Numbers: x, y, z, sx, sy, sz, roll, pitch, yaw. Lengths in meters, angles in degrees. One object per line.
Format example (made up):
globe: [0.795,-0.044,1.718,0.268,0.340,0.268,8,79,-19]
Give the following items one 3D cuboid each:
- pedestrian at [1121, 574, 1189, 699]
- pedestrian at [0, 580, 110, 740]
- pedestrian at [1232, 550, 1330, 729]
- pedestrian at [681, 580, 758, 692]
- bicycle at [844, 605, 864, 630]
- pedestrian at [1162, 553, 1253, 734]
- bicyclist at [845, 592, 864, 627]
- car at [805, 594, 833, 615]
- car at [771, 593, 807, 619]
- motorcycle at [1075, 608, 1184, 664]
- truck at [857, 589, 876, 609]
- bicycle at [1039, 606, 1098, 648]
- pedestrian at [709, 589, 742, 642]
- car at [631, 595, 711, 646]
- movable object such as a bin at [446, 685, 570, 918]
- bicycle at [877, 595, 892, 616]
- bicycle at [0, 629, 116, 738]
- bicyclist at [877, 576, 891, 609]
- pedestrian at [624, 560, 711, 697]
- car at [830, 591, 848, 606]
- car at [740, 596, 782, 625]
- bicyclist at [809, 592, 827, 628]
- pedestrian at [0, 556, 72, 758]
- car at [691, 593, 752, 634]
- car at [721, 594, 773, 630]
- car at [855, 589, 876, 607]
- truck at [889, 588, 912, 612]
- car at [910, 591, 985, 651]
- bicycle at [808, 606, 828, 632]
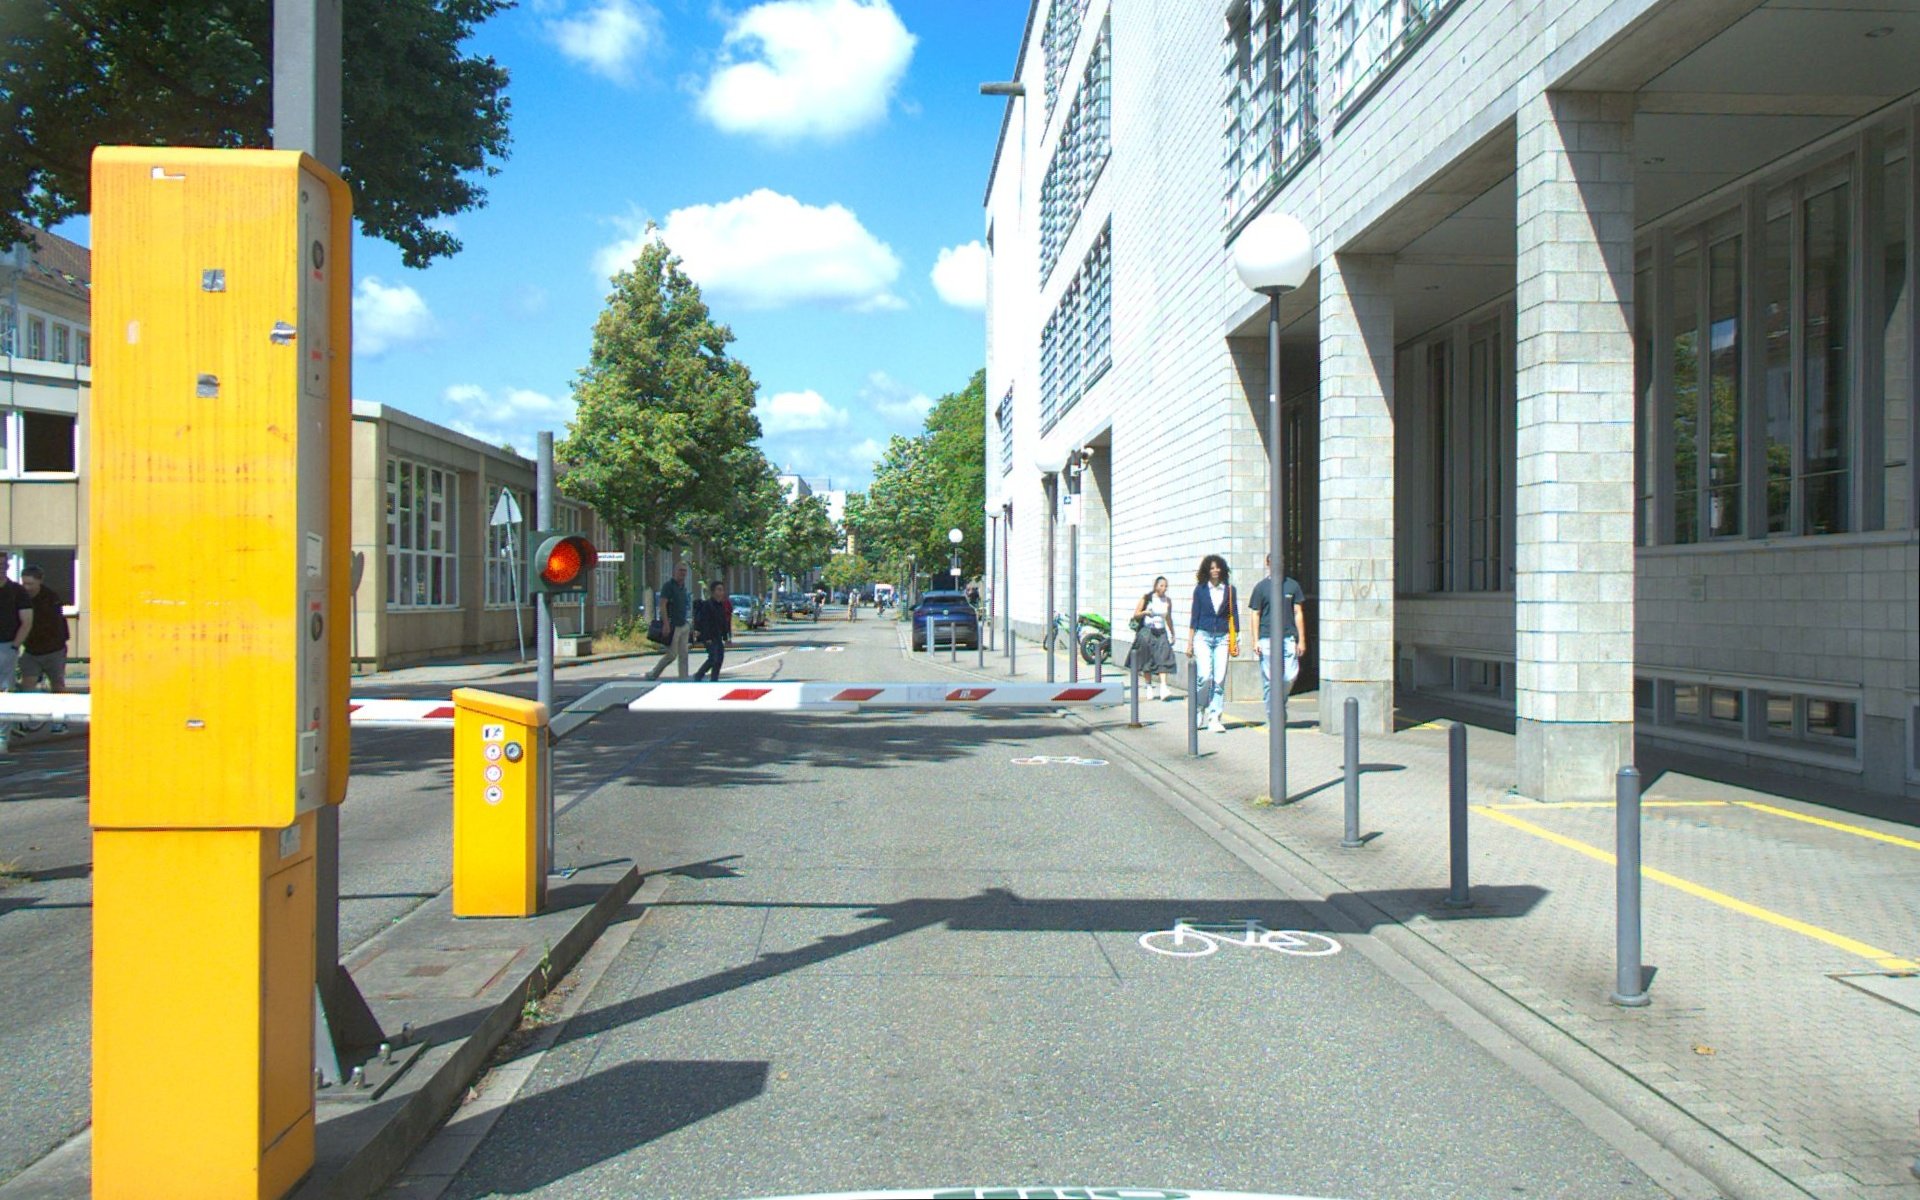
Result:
pedestrian: [2.670,0.490,22.710,0.726,1.661,0.887,-2,1,-4]
pedestrian: [-9.434,0.604,17.137,0.838,1.614,0.805,0,0,-4]
pedestrian: [3.361,0.400,17.383,0.752,1.811,0.910,-2,1,-4]
pedestrian: [-3.663,0.547,25.196,0.885,1.661,0.878,1,-1,-32]
bicycle: [-5.834,0.969,91.294,0.967,1.339,2.963,0,-2,-1]
pedestrian: [2.579,0.435,17.319,0.681,1.811,1.085,-2,1,-4]
bicyclist: [-5.837,0.536,91.584,0.967,1.917,1.036,0,-2,-2]
car: [-11.017,0.349,129.495,1.953,1.573,4.210,0,0,-2]
car: [-10.641,0.372,102.889,1.953,1.573,4.210,0,0,-2]
motorcycle: [3.421,0.737,33.481,2.080,1.040,0.660,-2,-2,-2]
truck: [-11.015,-0.140,194.441,2.189,2.339,4.837,0,0,-3]
bicycle: [2.832,0.700,43.068,1.511,1.085,0.648,-1,0,5]
pedestrian: [-7.422,0.501,52.330,0.875,1.661,0.888,0,-1,2]
car: [-9.198,0.627,52.886,1.953,1.573,4.210,0,0,-2]
movable object such as a bin: [-1.874,0.826,6.877,0.407,0.921,0.353,0,0,1]
bicycle: [-5.026,0.357,109.851,0.967,1.339,2.962,0,-2,-3]
bicycle: [-10.007,0.885,18.117,0.632,1.067,1.899,0,1,-4]
bicyclist: [-5.058,-0.498,109.963,0.967,2.169,1.035,0,-2,-3]
pedestrian: [-4.313,0.413,24.377,0.993,1.959,0.878,1,-1,-32]
car: [-15.110,-0.214,207.215,1.953,1.751,3.999,0,-2,0]
car: [-10.872,0.565,90.473,1.953,1.573,4.210,0,0,-2]
bicyclist: [-7.860,0.559,91.734,0.967,1.917,1.035,0,-2,-4]
pedestrian: [-8.991,0.516,15.617,0.691,1.841,1.001,0,0,-4]
car: [-9.483,0.523,65.991,1.953,1.573,4.210,0,0,-2]
car: [-9.591,0.516,74.782,1.953,1.573,4.210,0,0,-2]
car: [-9.952,-0.171,173.930,1.953,1.751,3.999,0,-2,0]
truck: [-5.406,-0.017,150.711,1.954,2.049,3.996,0,-2,-4]
car: [-0.384,0.548,45.885,1.953,1.573,4.210,0,0,-2]
bicycle: [-7.859,1.065,91.614,0.967,1.339,2.962,0,-2,-2]
